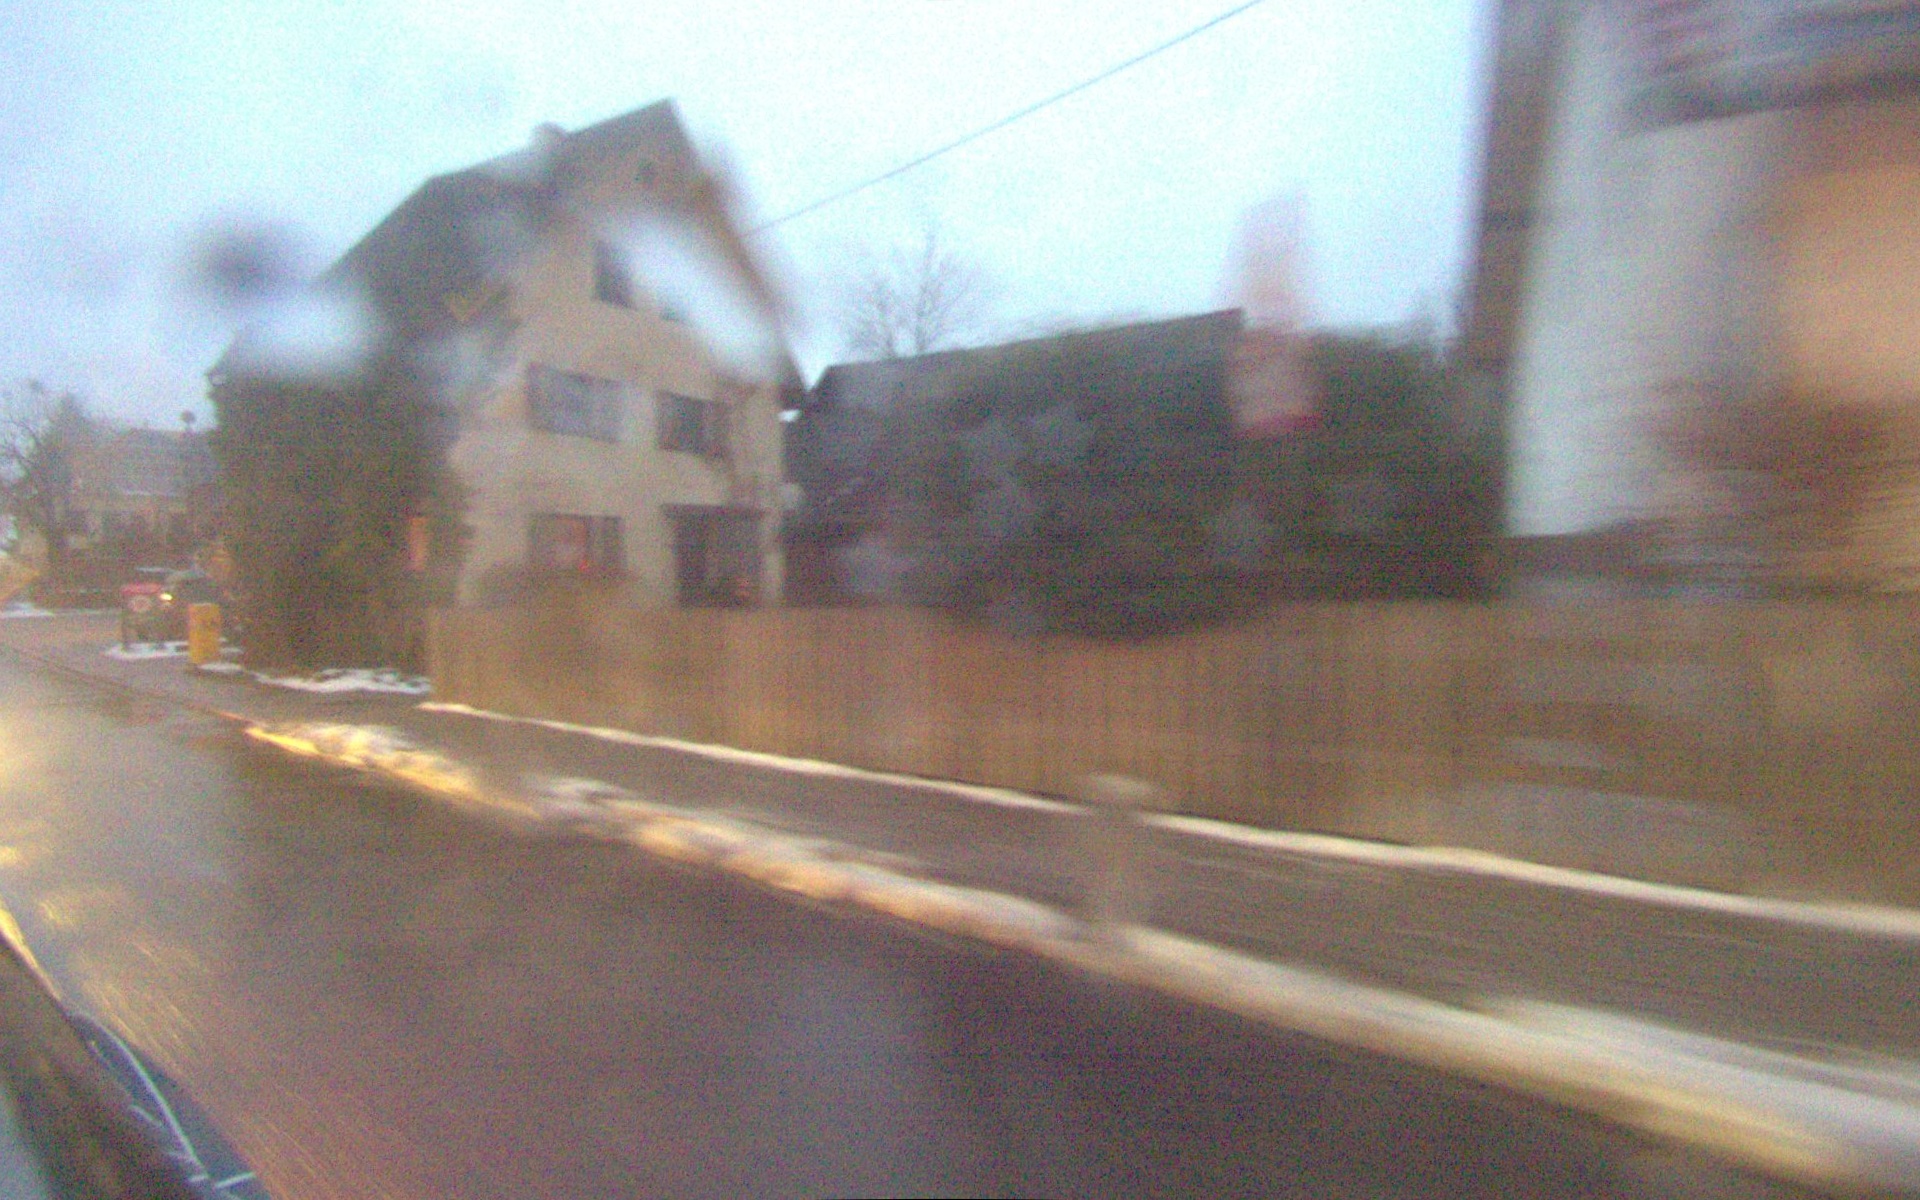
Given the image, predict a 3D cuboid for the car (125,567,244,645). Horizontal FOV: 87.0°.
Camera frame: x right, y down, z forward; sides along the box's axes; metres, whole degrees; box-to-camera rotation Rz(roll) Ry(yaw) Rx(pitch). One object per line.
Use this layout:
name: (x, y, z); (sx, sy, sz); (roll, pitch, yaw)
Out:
car: (-23.291, 0.135, 30.355); (4.081, 2.052, 1.973); (0, 5, 42)
